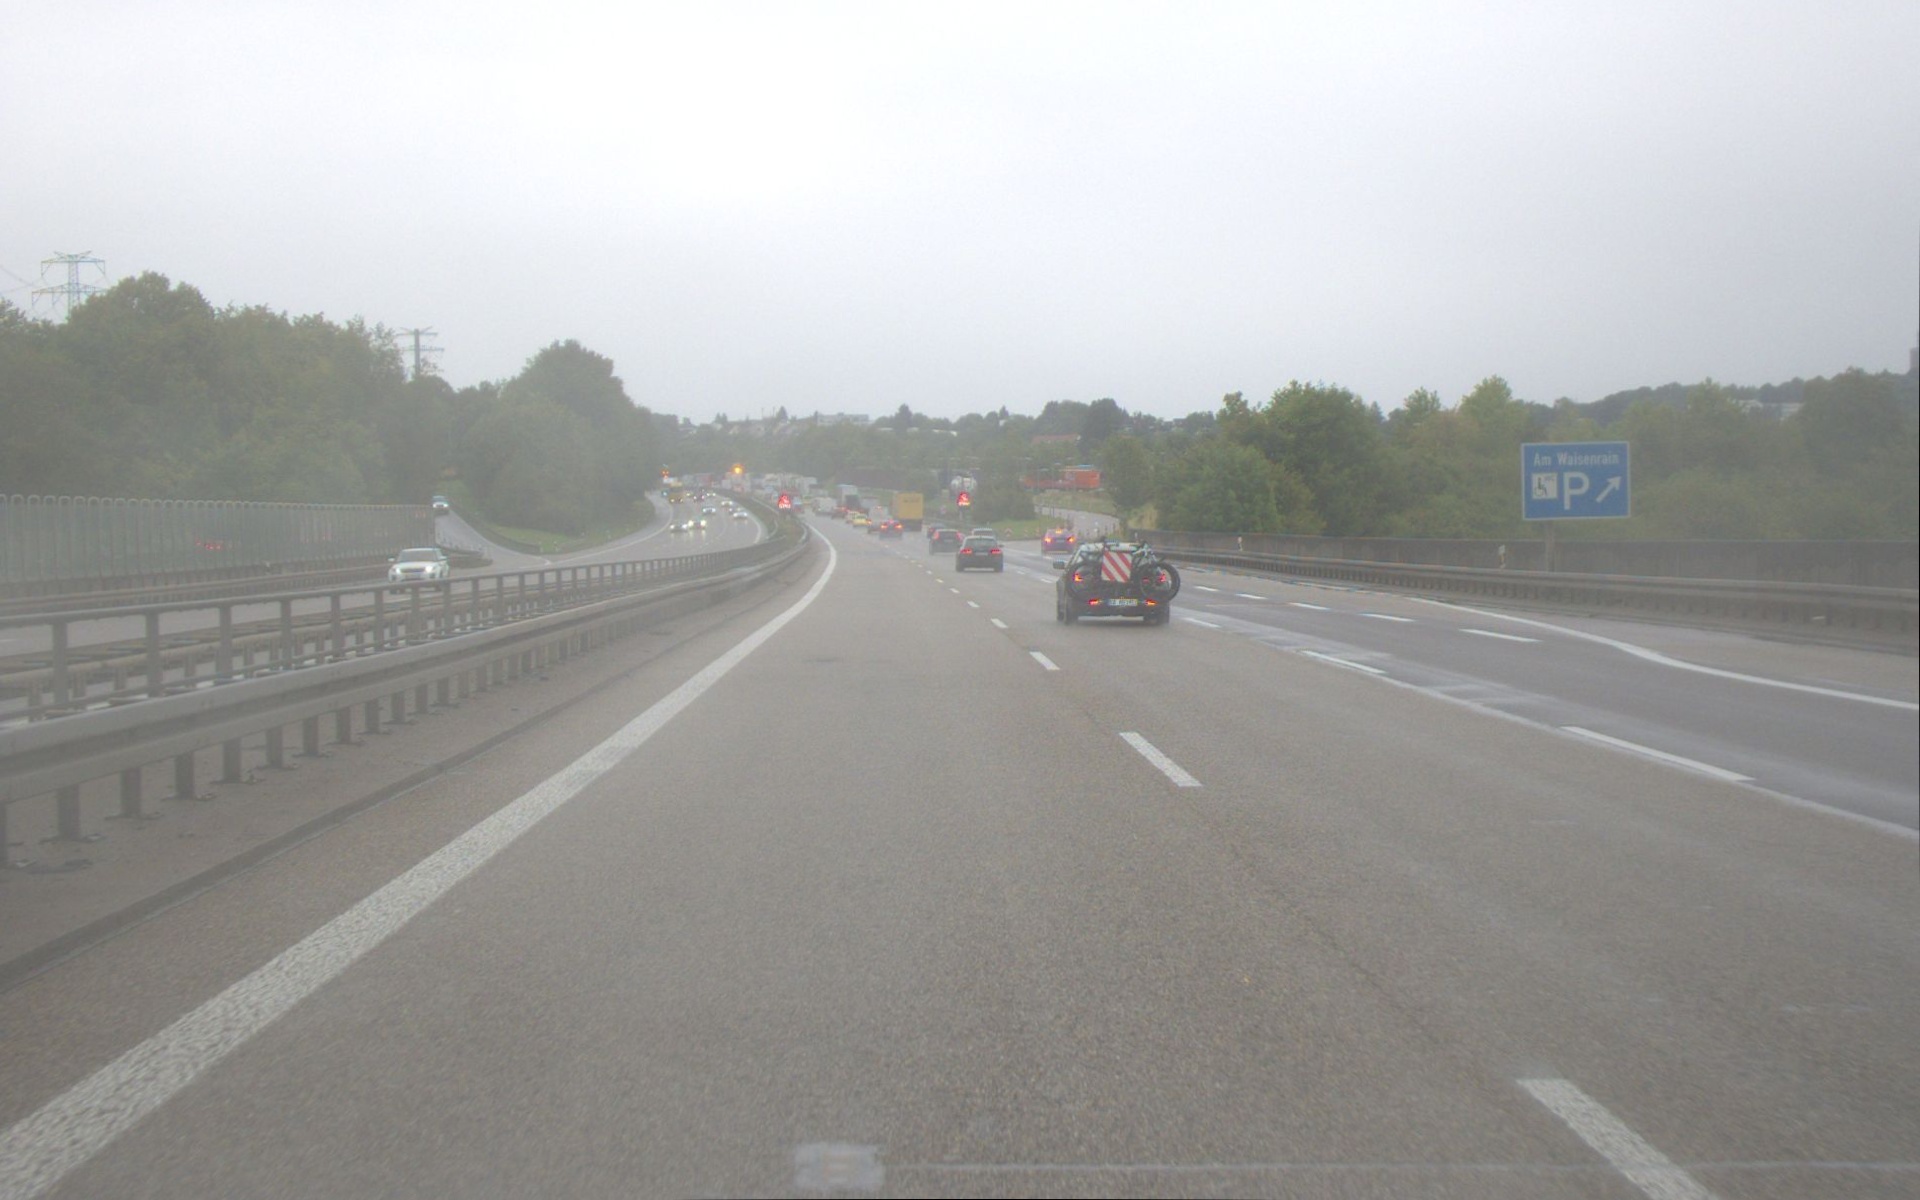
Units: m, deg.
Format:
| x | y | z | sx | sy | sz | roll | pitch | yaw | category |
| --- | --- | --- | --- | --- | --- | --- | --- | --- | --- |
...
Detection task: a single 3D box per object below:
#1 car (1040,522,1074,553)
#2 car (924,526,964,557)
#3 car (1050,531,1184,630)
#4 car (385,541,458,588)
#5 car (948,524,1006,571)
| x | y | z | sx | sy | sz | roll | pitch | yaw | category |
| --- | --- | --- | --- | --- | --- | --- | --- | --- | --- |
| 5.743 | -3.714 | 203.409 | 1.922 | 1.703 | 4.000 | -1 | 2 | 3 | car |
| -0.927 | -3.317 | 195.019 | 1.993 | 1.623 | 4.001 | -2 | 2 | -4 | car |
| 2.724 | -0.377 | 60.752 | 2.057 | 1.665 | 5.522 | 0 | 1 | 0 | car |
| -19.742 | -1.313 | 126.182 | 1.993 | 1.624 | 4.714 | -1 | 1 | -1 | car |
| 0.645 | -2.105 | 137.144 | 1.993 | 1.755 | 4.001 | -2 | 2 | -4 | car |
